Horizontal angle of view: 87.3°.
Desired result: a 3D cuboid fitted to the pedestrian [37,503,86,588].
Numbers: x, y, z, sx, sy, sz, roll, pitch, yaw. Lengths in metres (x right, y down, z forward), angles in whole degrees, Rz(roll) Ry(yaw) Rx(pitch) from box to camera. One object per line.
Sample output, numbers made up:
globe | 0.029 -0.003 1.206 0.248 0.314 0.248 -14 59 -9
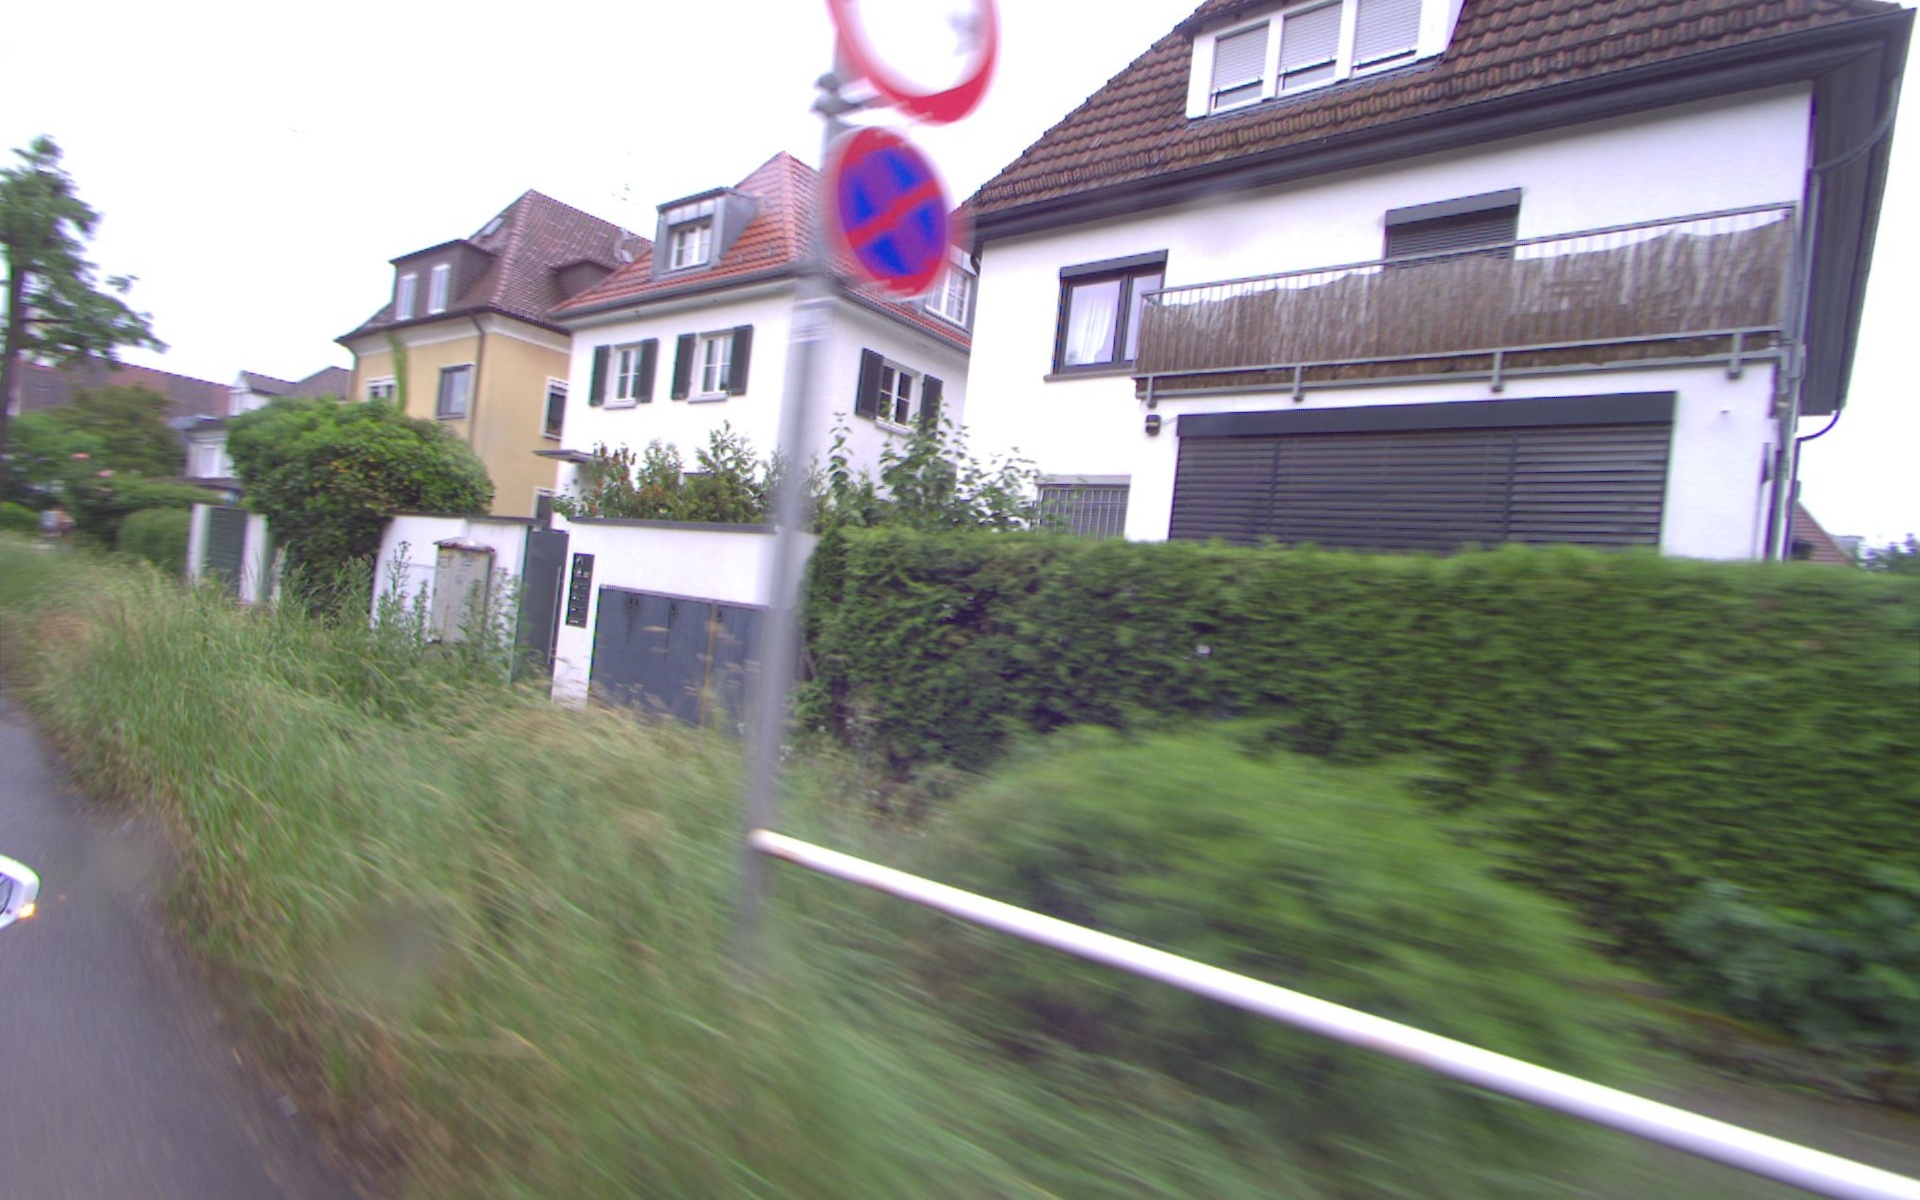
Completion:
pedestrian | -17.164 -1.037 19.216 0.433 1.552 0.481 6 -1 38

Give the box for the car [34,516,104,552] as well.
car | -38.619 -2.855 43.572 3.947 1.190 1.829 5 -3 43
